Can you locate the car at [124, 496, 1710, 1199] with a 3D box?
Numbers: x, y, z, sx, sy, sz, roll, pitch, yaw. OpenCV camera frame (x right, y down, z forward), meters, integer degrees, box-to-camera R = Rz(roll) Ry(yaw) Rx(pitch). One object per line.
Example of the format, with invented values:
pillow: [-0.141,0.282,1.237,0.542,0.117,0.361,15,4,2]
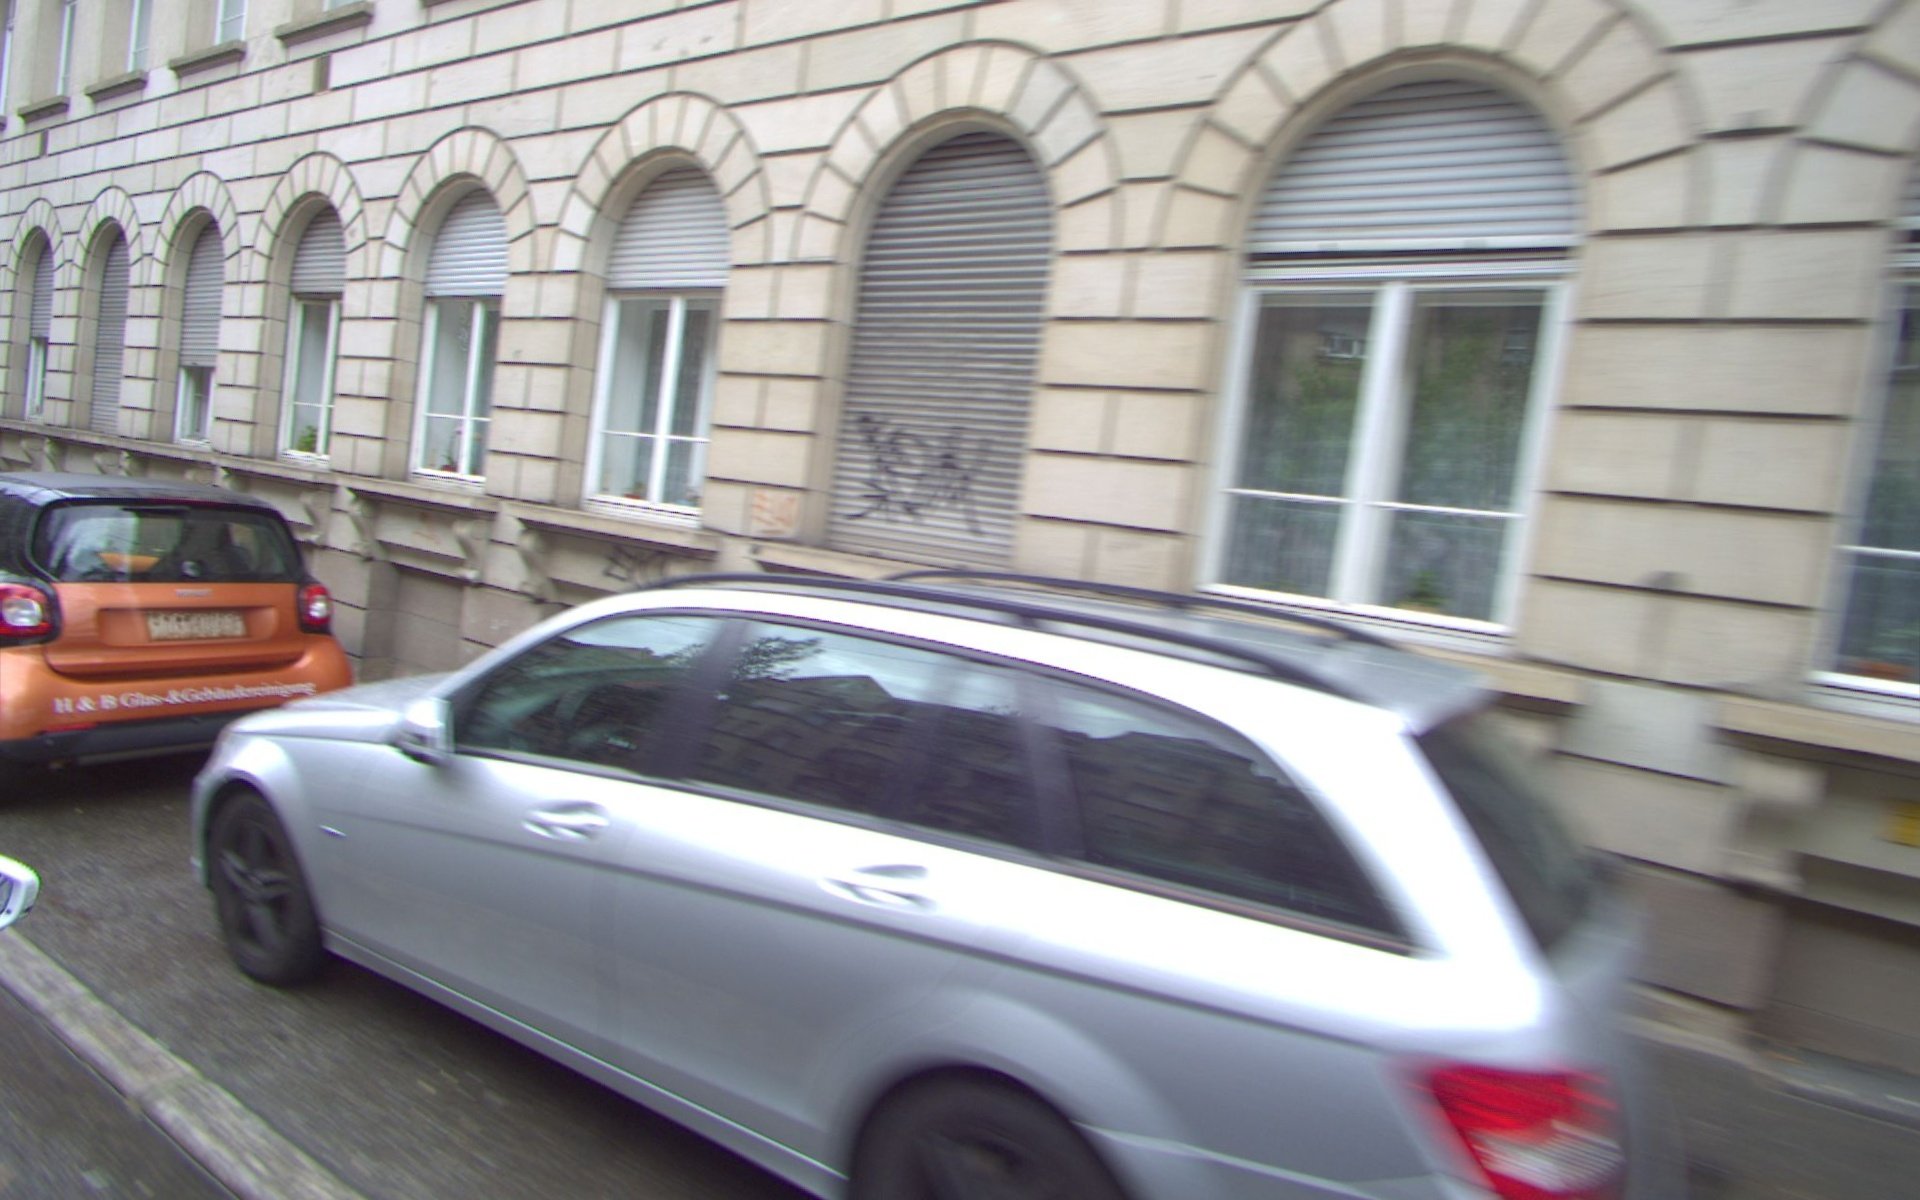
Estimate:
car: [-0.587,0.596,3.108,4.348,1.451,1.695,7,3,31]

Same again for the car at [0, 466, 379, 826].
car: [-5.036,0.056,5.711,3.129,1.541,1.638,7,3,30]

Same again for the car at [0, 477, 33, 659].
car: [-10.113,-0.497,8.739,4.644,1.481,1.757,7,3,31]
